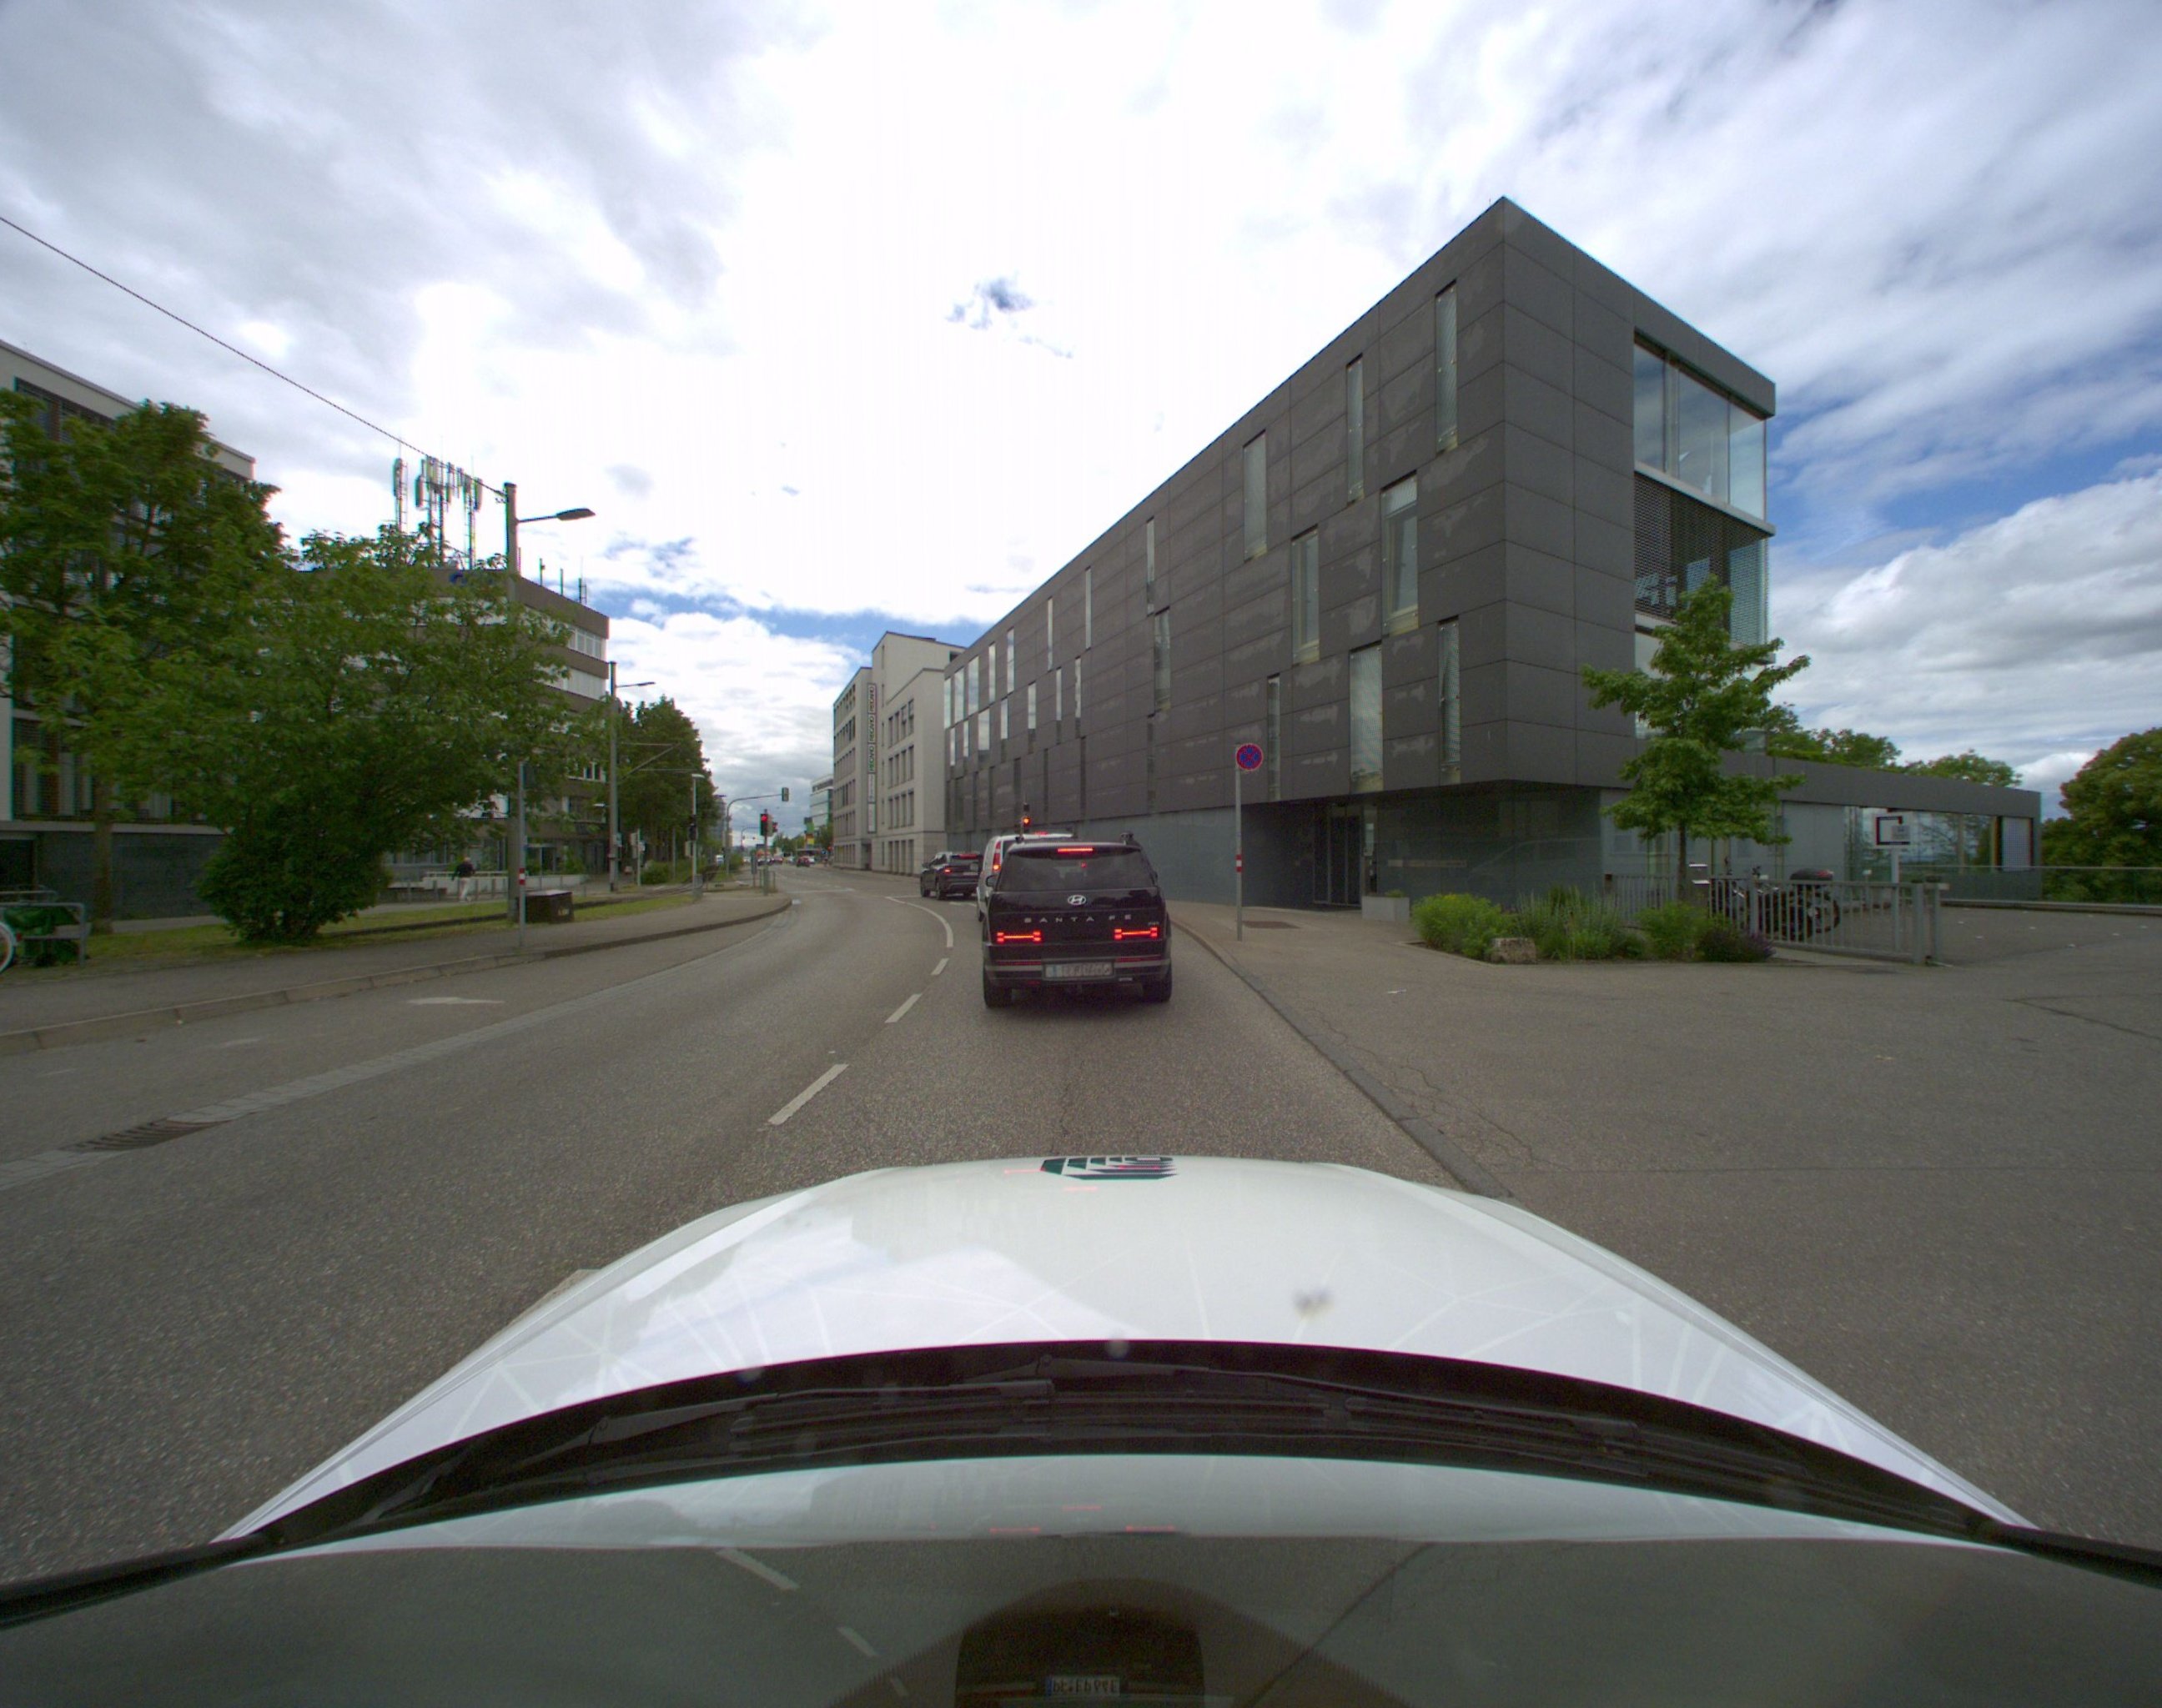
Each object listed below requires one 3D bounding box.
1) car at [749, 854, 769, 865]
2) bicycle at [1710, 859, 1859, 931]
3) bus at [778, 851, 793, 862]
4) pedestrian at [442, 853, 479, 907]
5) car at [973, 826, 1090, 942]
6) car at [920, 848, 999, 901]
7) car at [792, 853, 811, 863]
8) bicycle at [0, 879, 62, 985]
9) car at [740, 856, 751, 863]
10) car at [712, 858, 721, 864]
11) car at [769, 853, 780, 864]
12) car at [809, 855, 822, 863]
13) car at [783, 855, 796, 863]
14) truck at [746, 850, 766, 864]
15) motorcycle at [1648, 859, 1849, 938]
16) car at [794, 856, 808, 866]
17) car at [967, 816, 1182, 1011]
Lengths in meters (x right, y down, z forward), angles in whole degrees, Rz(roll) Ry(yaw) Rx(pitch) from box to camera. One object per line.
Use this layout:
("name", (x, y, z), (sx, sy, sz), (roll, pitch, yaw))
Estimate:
("car", (-49.533, 0.838, 125.341), (1.848, 1.695, 3.994), (-1, 0, -4))
("bicycle", (13.387, 0.741, 15.584), (0.617, 1.260, 2.085), (0, 0, -25))
("bus", (-82.124, 0.624, 226.070), (3.096, 2.928, 10.261), (1, 0, -24))
("pedestrian", (-23.618, 0.978, 31.033), (0.768, 2.014, 0.885), (3, -1, -17))
("car", (-1.157, 0.514, 16.780), (1.856, 2.033, 4.421), (-1, 0, -11))
("car", (-4.389, 0.684, 28.779), (1.855, 1.677, 4.344), (-1, 0, -21))
("car", (-49.630, 0.744, 144.562), (1.867, 1.759, 3.953), (0, 0, -41))
("bicycle", (-12.583, 0.835, 8.918), (2.090, 1.106, 0.632), (1, 0, 2))
("car", (-78.073, 1.260, 189.503), (1.927, 1.725, 4.130), (1, 0, -31))
("car", (-105.360, 2.020, 235.541), (1.927, 1.725, 4.131), (1, 0, -30))
("car", (-53.746, 0.760, 142.865), (1.858, 1.923, 3.973), (0, 0, -20))
("car", (-55.340, 1.088, 169.912), (1.882, 1.613, 3.962), (0, 0, -29))
("car", (-59.715, 1.031, 167.056), (1.882, 1.613, 3.962), (0, 0, -29))
("truck", (-70.498, 0.636, 176.737), (2.592, 2.825, 6.914), (-1, 0, -35))
("motorcycle", (11.754, 0.728, 14.495), (0.850, 1.260, 2.672), (0, 0, -25))
("car", (-41.973, 1.046, 122.096), (1.904, 1.486, 3.978), (-1, 0, -16))
("car", (-0.100, 0.536, 9.429), (1.910, 1.725, 4.168), (1, 0, -2))
